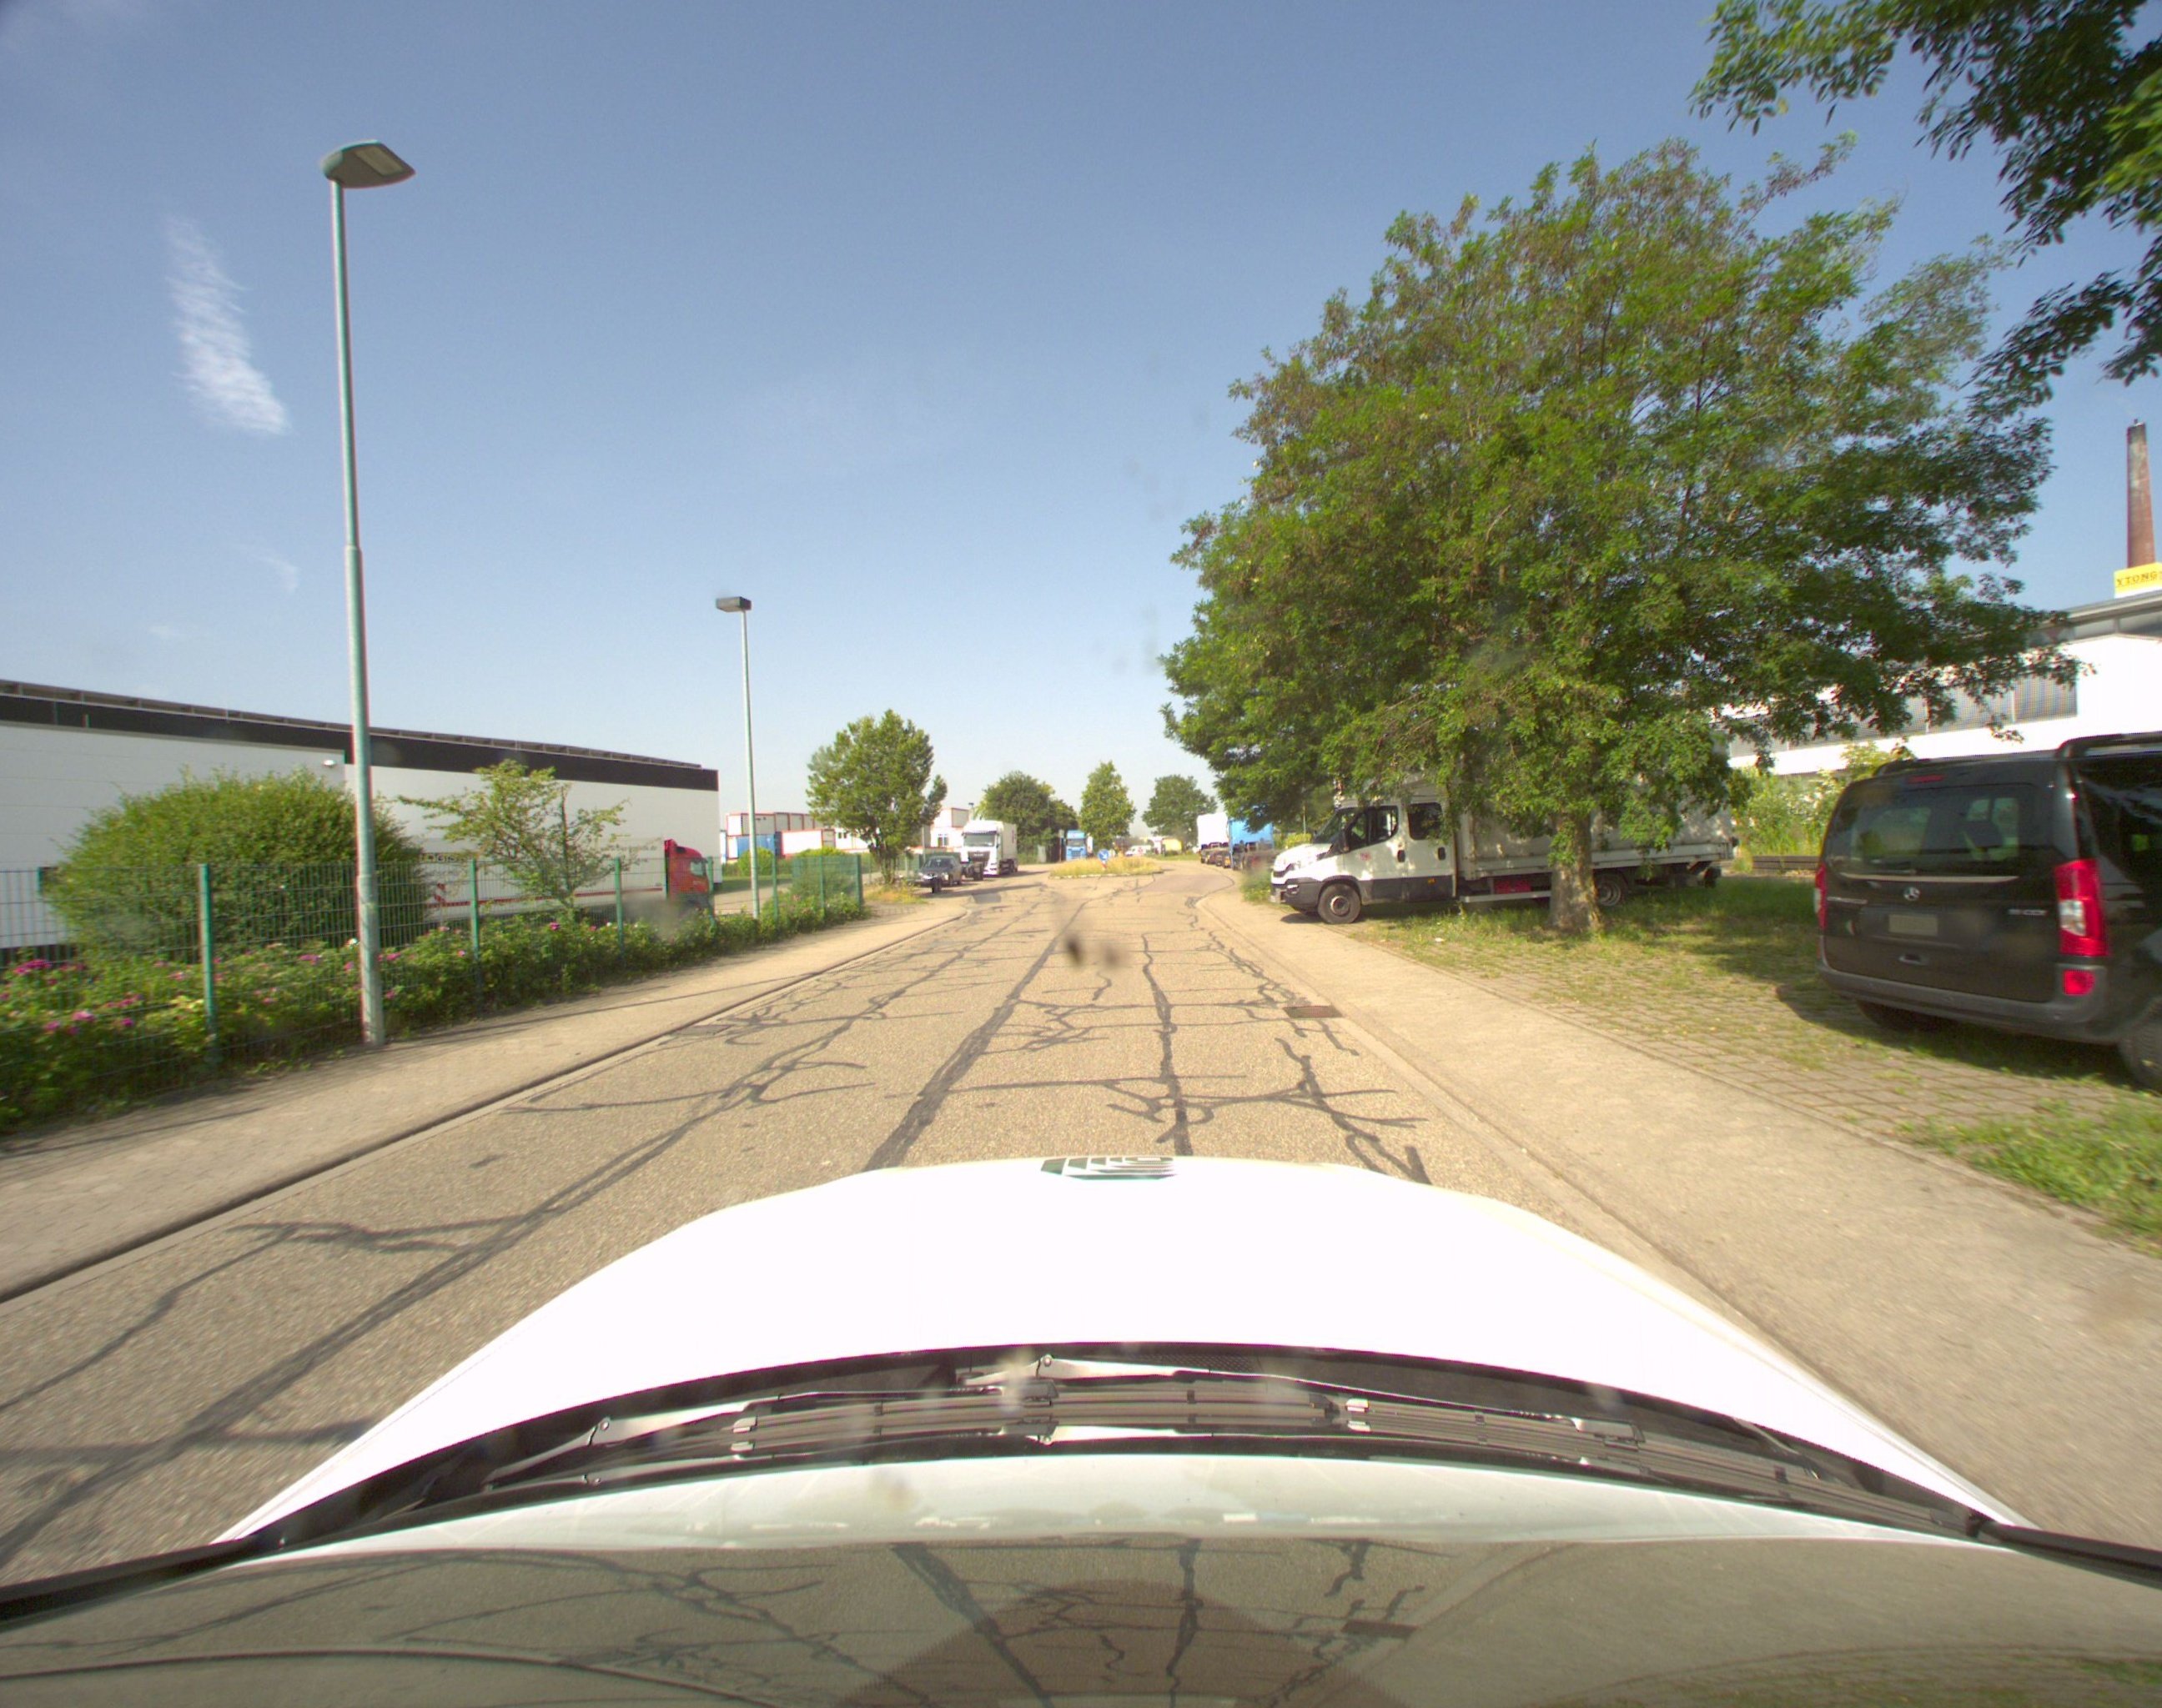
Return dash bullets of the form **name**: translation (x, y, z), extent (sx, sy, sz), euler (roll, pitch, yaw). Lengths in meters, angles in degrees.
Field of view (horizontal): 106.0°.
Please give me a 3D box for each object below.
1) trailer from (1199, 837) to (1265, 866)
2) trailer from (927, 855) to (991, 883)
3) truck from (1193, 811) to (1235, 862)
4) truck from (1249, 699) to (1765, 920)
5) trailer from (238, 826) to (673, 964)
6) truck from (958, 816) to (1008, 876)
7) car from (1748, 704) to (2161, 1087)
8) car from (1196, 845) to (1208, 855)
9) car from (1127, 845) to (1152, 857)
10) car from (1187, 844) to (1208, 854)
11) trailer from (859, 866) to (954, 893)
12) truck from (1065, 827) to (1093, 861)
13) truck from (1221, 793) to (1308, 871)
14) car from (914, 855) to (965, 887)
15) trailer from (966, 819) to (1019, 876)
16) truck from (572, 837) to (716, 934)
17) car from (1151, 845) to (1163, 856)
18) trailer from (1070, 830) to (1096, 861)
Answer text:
- **trailer**: translation (10.724, -0.176, 59.619), extent (2.734, 1.574, 16.187), euler (-5, 0, 4)
- **trailer**: translation (-7.285, 0.882, 49.241), extent (2.669, 1.453, 5.083), euler (-2, 0, 4)
- **truck**: translation (11.159, -1.443, 68.678), extent (2.734, 3.981, 4.004), euler (-5, 0, 3)
- **truck**: translation (7.617, -0.748, 15.466), extent (8.177, 3.370, 2.742), euler (-3, -1, 2)
- **trailer**: translation (-22.002, 1.288, 30.795), extent (2.461, 4.042, 13.955), euler (-1, -1, 19)
- **truck**: translation (-6.693, -0.484, 55.906), extent (2.698, 3.922, 4.299), euler (-1, -1, 2)
- **car**: translation (6.828, 0.111, 4.837), extent (3.969, 1.838, 2.002), euler (-3, 0, 4)
- **car**: translation (19.555, -0.605, 131.571), extent (1.708, 1.618, 4.007), euler (-1, -1, 6)
- **car**: translation (14.302, -0.754, 200.257), extent (5.768, 2.734, 1.993), euler (0, -1, -10)
- **car**: translation (16.350, -0.675, 114.095), extent (1.670, 1.330, 3.647), euler (0, -1, -13)
- **trailer**: translation (-7.579, 1.093, 36.333), extent (2.537, 0.925, 6.713), euler (1, 0, 2)
- **truck**: translation (-0.139, -1.137, 100.308), extent (2.813, 3.826, 9.679), euler (-1, -1, 3)
- **truck**: translation (9.829, -1.027, 44.743), extent (2.875, 3.535, 9.765), euler (-6, -1, 4)
- **car**: translation (-7.410, 0.832, 43.079), extent (1.688, 1.561, 4.340), euler (0, 0, 3)
- **trailer**: translation (-6.448, -0.422, 60.263), extent (2.688, 3.922, 7.580), euler (-1, -1, 3)
- **truck**: translation (-19.781, 1.384, 37.240), extent (2.492, 4.071, 5.569), euler (-1, -1, 18)
- **car**: translation (13.103, -0.572, 140.064), extent (1.785, 1.750, 4.002), euler (-1, -1, 2)
- **trailer**: translation (0.359, -1.021, 109.064), extent (2.819, 3.843, 12.044), euler (-1, -1, 3)
